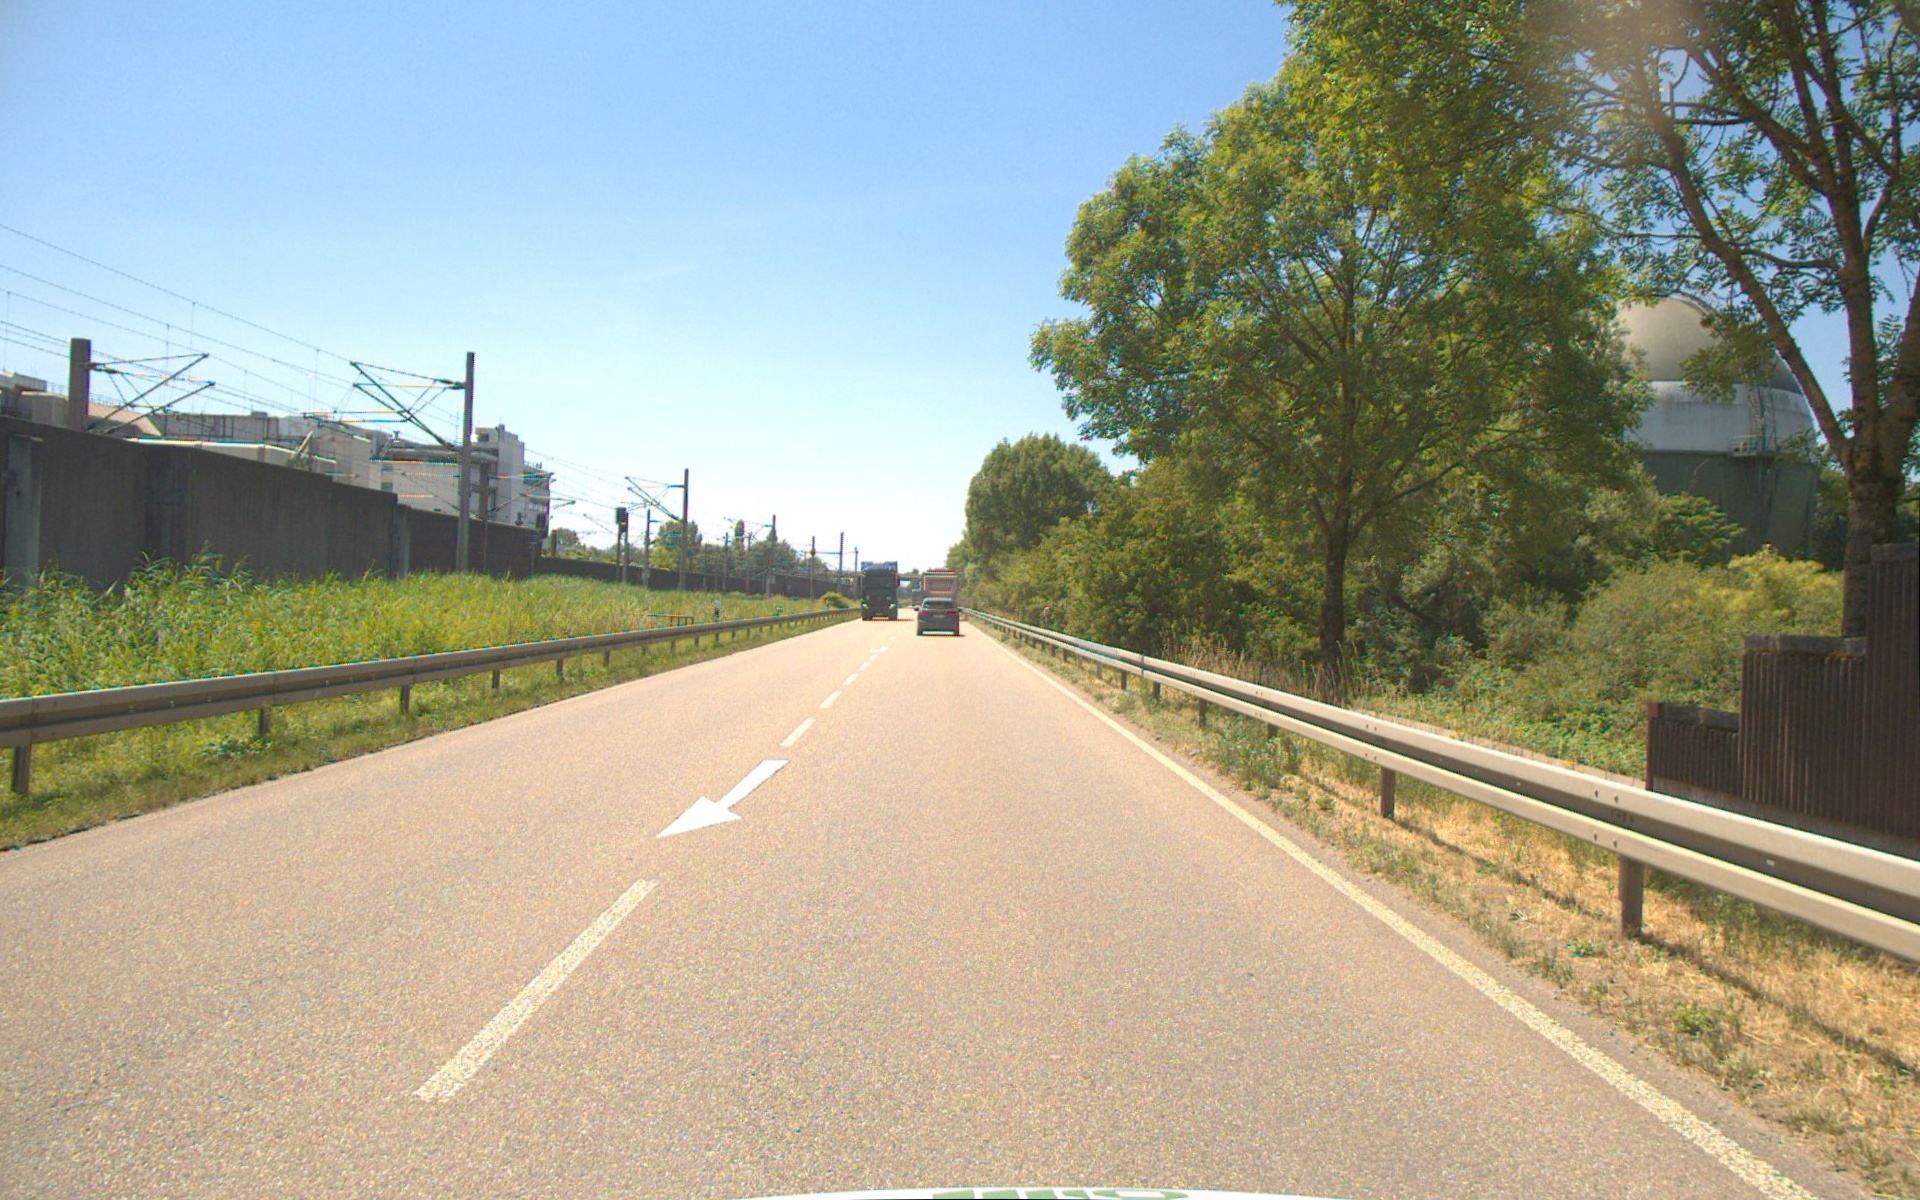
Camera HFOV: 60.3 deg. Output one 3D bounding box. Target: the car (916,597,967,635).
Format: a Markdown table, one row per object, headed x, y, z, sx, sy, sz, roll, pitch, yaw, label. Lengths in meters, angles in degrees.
| x | y | z | sx | sy | sz | roll | pitch | yaw | label |
| --- | --- | --- | --- | --- | --- | --- | --- | --- | --- |
| -0.810 | 0.660 | 69.695 | 1.954 | 1.534 | 3.997 | 1 | 0 | -3 | car |

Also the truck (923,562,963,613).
| x | y | z | sx | sy | sz | roll | pitch | yaw | label |
| --- | --- | --- | --- | --- | --- | --- | --- | --- | --- |
| -1.272 | -0.848 | 120.560 | 2.714 | 3.485 | 10.816 | 1 | 0 | -1 | truck |

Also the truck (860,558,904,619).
| x | y | z | sx | sy | sz | roll | pitch | yaw | label |
| --- | --- | --- | --- | --- | --- | --- | --- | --- | --- |
| -5.500 | -0.829 | 117.861 | 2.740 | 4.047 | 10.498 | -2 | 0 | -1 | truck |
